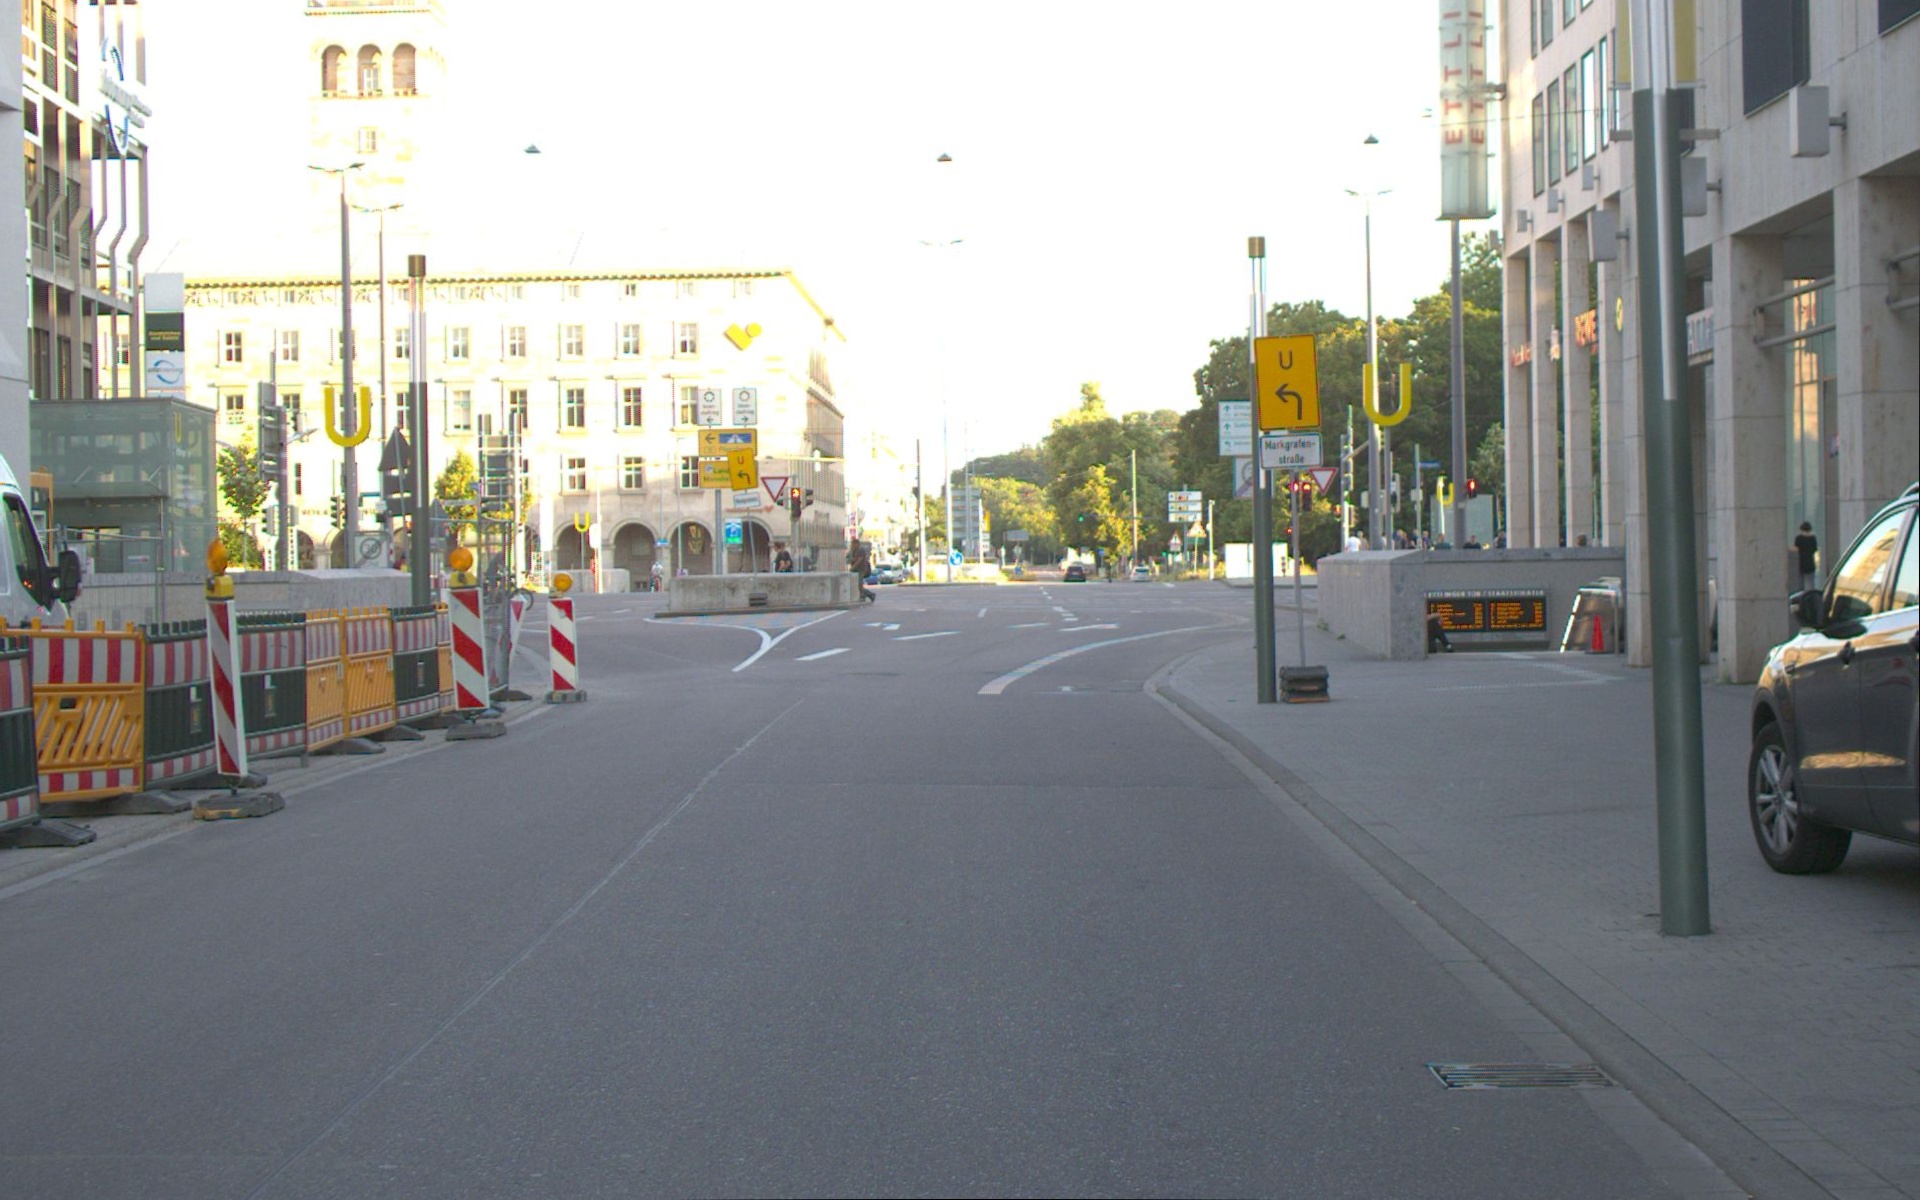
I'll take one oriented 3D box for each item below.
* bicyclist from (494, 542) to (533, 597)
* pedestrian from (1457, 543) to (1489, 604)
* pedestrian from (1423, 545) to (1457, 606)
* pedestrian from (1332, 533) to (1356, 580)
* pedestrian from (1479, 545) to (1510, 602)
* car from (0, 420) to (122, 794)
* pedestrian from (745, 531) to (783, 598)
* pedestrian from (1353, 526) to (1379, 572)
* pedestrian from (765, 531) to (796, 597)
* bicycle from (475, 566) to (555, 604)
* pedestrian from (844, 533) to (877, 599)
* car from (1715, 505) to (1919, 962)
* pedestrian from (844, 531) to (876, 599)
[{"bbox_3d":[-13.148,-0.896,101.282,1.019,1.615,0.653,-1,1,1],"label":"bicyclist"},{"bbox_3d":[15.364,-0.794,103.000,0.756,1.771,0.741,-3,1,2],"label":"pedestrian"},{"bbox_3d":[14.462,-0.737,103.632,0.860,1.771,0.741,-3,1,2],"label":"pedestrian"},{"bbox_3d":[14.377,-1.628,128.738,0.808,1.724,0.688,-1,1,0],"label":"pedestrian"},{"bbox_3d":[16.273,-0.805,104.689,0.836,1.724,0.688,-1,1,3],"label":"pedestrian"},{"bbox_3d":[-7.418,0.052,22.847,2.173,2.462,5.999,0,1,0],"label":"car"},{"bbox_3d":[-5.327,-0.978,93.464,0.739,1.771,0.863,-3,1,12],"label":"pedestrian"},{"bbox_3d":[15.232,-1.921,128.927,0.808,1.724,0.688,-1,1,-9],"label":"pedestrian"},{"bbox_3d":[-4.926,-1.001,94.538,0.738,1.771,0.863,-3,1,-2],"label":"pedestrian"},{"bbox_3d":[-13.113,-0.438,101.306,2.242,1.058,0.653,-1,1,1],"label":"bicycle"},{"bbox_3d":[-2.676,-0.914,92.306,0.738,1.771,0.864,0,1,-13],"label":"pedestrian"},{"bbox_3d":[4.284,0.412,13.352,1.768,1.632,4.057,-4,1,1],"label":"car"},{"bbox_3d":[-2.666,-0.925,91.557,0.738,1.771,0.863,-3,1,-5],"label":"pedestrian"}]
